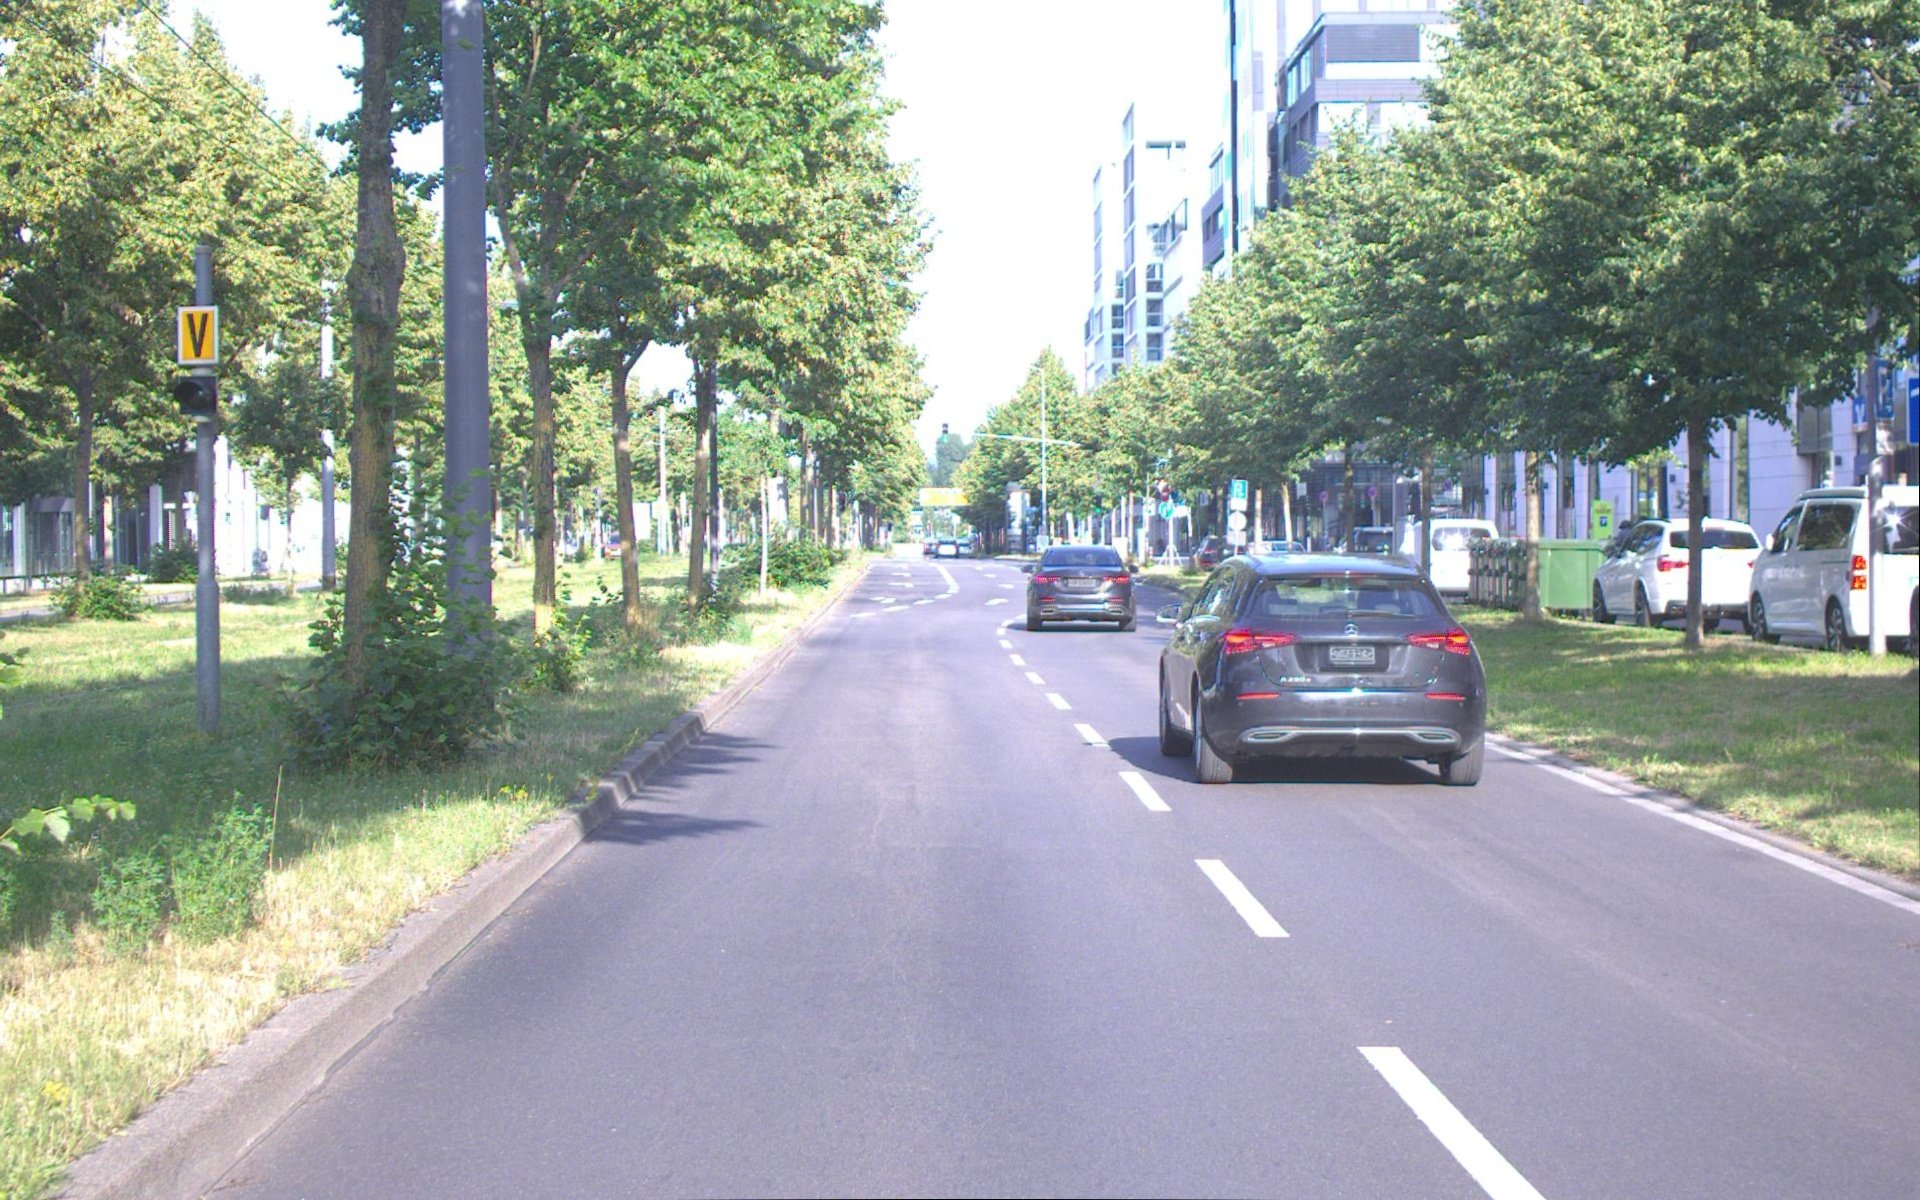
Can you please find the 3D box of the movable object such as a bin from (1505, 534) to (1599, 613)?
[{"bbox_3d":[10.032,-0.453,58.305,1.277,1.297,1.191,1,0,-4],"label":"movable object such as a bin"}]

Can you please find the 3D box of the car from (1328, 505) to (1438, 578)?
[{"bbox_3d":[10.381,-1.471,84.624,1.897,1.702,4.678,1,2,-2],"label":"car"}]

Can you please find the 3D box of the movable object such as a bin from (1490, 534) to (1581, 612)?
[{"bbox_3d":[9.980,-0.468,59.652,1.277,1.313,1.191,1,0,-4],"label":"movable object such as a bin"}]

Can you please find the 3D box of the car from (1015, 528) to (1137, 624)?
[{"bbox_3d":[1.917,-0.414,57.817,1.859,1.519,3.786,1,1,-1],"label":"car"}]

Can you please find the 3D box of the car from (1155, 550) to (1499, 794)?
[{"bbox_3d":[2.306,0.411,22.549,1.774,1.419,3.961,1,1,0],"label":"car"}]

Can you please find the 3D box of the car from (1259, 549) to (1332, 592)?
[{"bbox_3d":[10.232,-0.913,105.114,1.708,1.238,3.906,1,1,-2],"label":"car"}]

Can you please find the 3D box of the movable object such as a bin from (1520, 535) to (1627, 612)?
[{"bbox_3d":[10.130,-0.434,56.758,1.400,1.232,1.333,2,1,26],"label":"movable object such as a bin"}]

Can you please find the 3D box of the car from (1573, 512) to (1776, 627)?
[{"bbox_3d":[10.577,-0.480,51.220,1.730,1.624,4.851,-1,1,-3],"label":"car"}]

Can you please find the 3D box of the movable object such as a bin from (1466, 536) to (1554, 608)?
[{"bbox_3d":[9.766,-0.493,61.051,1.277,1.232,1.191,1,0,-4],"label":"movable object such as a bin"}]

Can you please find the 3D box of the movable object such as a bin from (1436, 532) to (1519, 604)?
[{"bbox_3d":[9.634,-0.598,64.035,1.277,1.287,1.178,1,0,-4],"label":"movable object such as a bin"}]

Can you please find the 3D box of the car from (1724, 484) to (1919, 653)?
[{"bbox_3d":[10.722,-0.369,40.901,1.837,1.869,5.032,1,1,-3],"label":"car"}]

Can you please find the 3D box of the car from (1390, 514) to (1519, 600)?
[{"bbox_3d":[10.364,-0.902,72.359,1.827,1.706,4.297,1,1,-3],"label":"car"}]

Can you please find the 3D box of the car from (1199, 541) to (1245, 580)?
[{"bbox_3d":[9.616,-1.444,126.343,1.607,1.366,4.157,1,1,4],"label":"car"}]

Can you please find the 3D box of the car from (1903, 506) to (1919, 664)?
[{"bbox_3d":[10.836,-0.117,34.106,1.728,1.644,4.339,1,1,0],"label":"car"}]

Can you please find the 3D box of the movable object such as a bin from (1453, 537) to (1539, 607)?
[{"bbox_3d":[9.713,-0.509,62.349,1.277,1.232,1.191,1,0,-4],"label":"movable object such as a bin"}]
